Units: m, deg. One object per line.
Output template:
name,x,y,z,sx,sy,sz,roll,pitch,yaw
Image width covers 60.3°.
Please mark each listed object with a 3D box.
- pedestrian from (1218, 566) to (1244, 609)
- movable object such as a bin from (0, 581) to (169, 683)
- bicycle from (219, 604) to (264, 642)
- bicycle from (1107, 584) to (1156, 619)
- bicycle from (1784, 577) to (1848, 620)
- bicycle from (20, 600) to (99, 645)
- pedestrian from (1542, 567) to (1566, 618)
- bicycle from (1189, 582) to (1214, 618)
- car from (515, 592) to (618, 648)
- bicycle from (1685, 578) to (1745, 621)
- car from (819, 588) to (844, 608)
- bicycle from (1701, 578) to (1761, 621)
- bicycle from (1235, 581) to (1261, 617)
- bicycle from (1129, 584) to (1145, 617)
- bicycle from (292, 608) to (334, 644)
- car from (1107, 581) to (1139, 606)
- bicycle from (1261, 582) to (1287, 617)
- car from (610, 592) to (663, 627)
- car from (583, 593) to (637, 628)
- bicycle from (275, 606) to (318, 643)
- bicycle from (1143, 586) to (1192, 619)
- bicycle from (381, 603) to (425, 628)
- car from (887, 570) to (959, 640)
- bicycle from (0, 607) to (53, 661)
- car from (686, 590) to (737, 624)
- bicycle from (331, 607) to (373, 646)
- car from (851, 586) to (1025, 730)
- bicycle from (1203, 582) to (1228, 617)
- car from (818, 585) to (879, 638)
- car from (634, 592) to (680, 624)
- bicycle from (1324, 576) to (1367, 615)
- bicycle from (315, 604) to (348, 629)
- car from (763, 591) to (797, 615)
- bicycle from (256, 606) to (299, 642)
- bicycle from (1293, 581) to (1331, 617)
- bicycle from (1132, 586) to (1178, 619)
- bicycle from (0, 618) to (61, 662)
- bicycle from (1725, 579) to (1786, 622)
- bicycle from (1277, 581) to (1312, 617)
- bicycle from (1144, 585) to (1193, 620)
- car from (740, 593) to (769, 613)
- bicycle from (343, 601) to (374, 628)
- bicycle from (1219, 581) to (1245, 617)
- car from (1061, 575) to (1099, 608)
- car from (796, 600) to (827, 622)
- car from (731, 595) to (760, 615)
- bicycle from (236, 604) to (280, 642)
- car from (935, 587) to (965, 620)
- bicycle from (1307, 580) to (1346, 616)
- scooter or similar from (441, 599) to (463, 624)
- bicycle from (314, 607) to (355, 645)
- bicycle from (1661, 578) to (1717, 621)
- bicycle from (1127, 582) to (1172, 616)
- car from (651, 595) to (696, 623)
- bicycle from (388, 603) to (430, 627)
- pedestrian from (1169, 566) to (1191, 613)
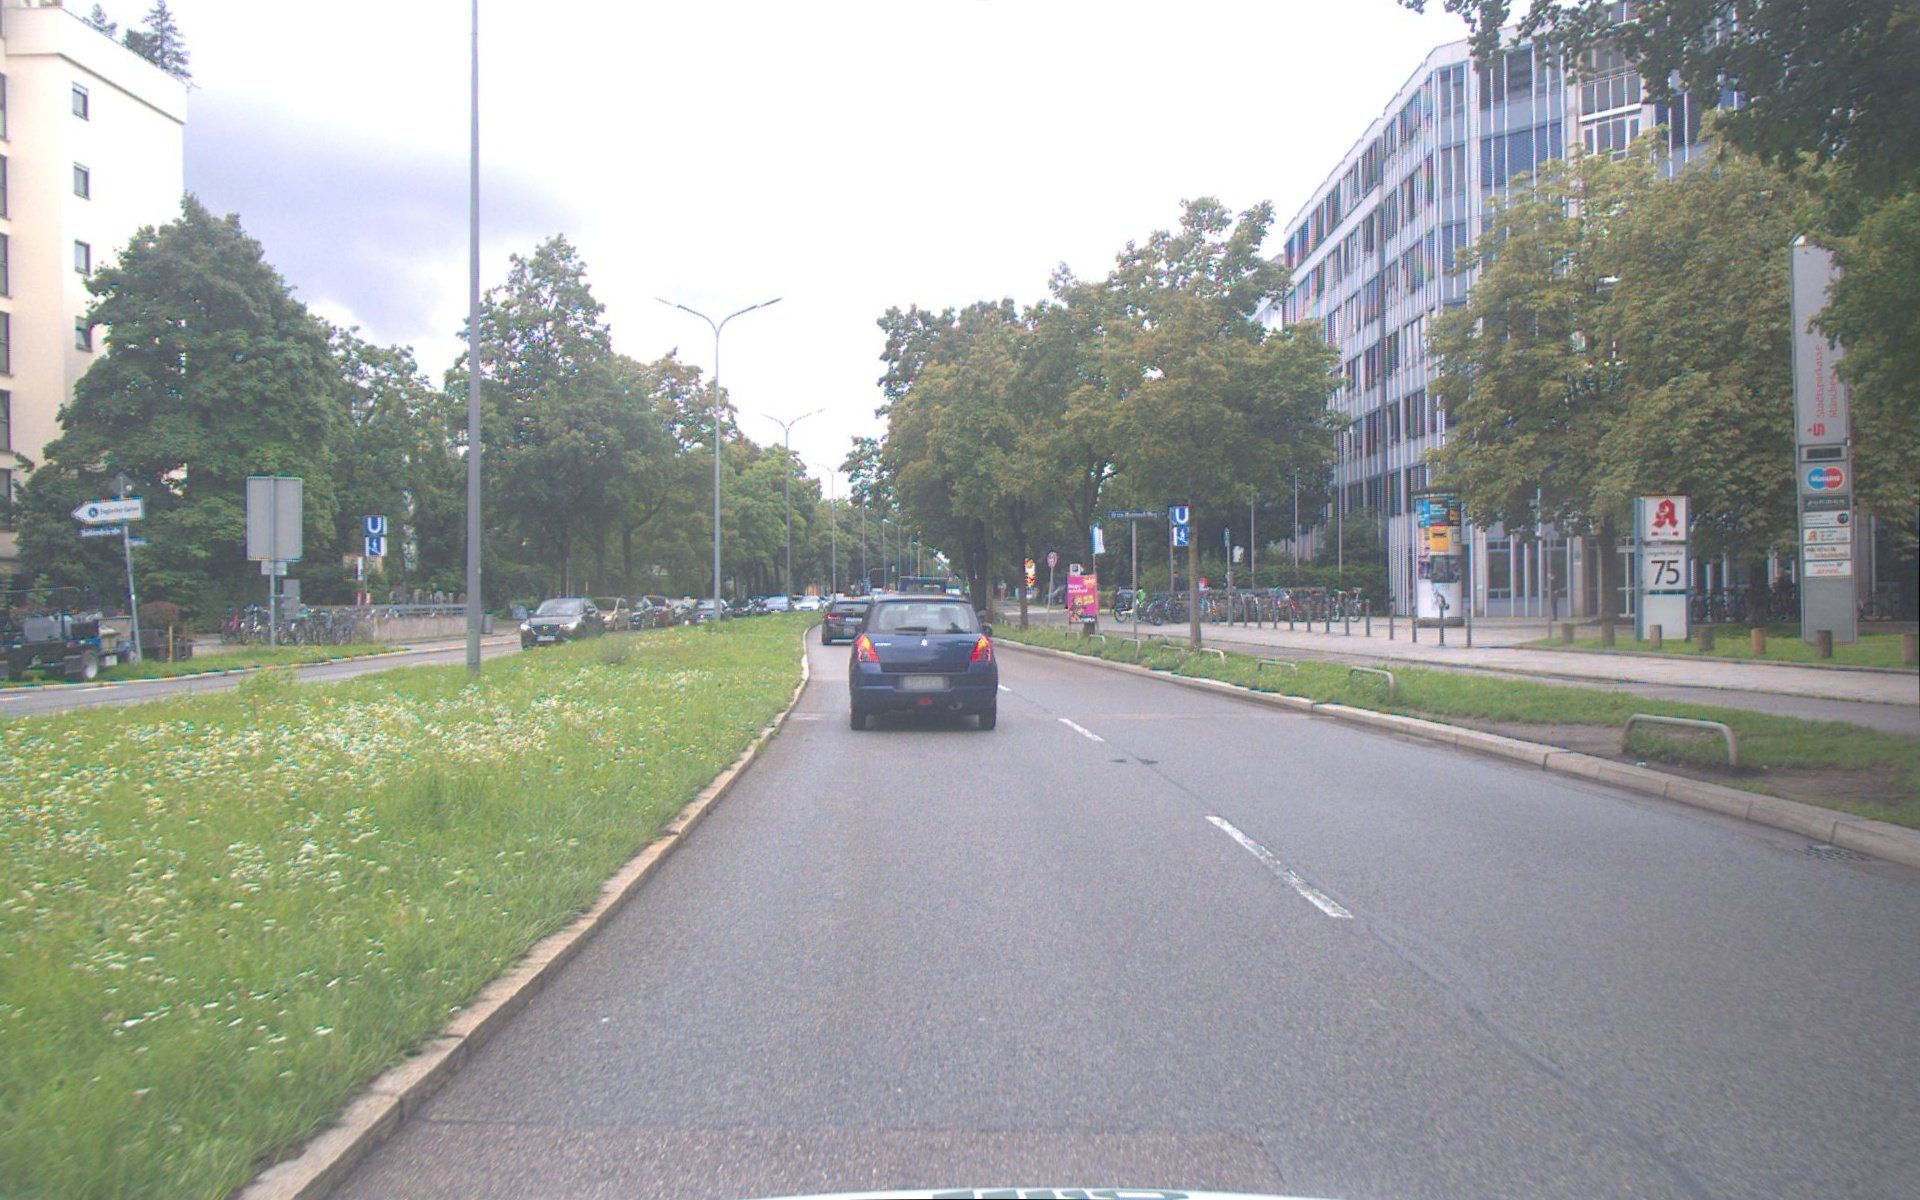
pedestrian,11.326,-0.529,69.113,0.743,1.744,0.773,-2,0,-41
movable object such as a bin,-18.618,0.636,34.930,2.150,1.987,3.996,-1,0,-5
bicycle,-22.232,0.703,51.189,0.399,1.116,1.955,3,1,3
bicycle,6.694,0.066,64.508,1.931,1.209,0.590,-5,2,-34
bicycle,26.459,-0.058,51.168,0.542,1.282,2.170,-1,0,-10
bicycle,-24.880,0.607,45.719,1.907,1.122,0.489,3,0,4
pedestrian,21.376,-0.268,59.511,0.672,1.803,0.770,-1,0,11
bicycle,8.438,-0.014,57.896,0.478,1.209,1.953,-1,0,-3
car,-11.493,0.561,48.569,1.917,1.506,4.259,-1,0,1
bicycle,23.213,-0.018,50.889,0.499,1.282,2.170,-1,0,-10
car,-11.054,-0.184,142.925,1.730,1.653,4.377,-2,0,1
bicycle,23.765,-0.029,51.036,0.499,1.282,2.170,-1,0,-10
bicycle,10.107,-0.036,58.047,0.478,1.209,1.953,-1,0,-3
bicycle,7.215,0.026,67.422,0.519,1.247,1.863,-3,2,4
bicycle,-20.041,0.800,51.267,0.399,1.058,1.955,3,1,3
car,12.321,-0.496,125.180,1.805,1.850,4.471,-2,0,-1
bicycle,10.956,-0.025,57.801,0.436,1.209,1.953,-1,0,-3
car,-16.520,0.458,84.551,1.703,1.672,4.685,0,0,1
car,-16.710,0.484,79.072,1.613,1.642,3.820,0,0,2
bicycle,-20.580,0.752,51.322,0.399,1.091,1.955,3,1,3
bicycle,7.574,0.085,60.261,2.026,1.108,0.595,-3,-1,-45
bicycle,-24.494,0.684,72.732,1.726,1.024,0.436,-1,0,0
car,-1.326,0.156,61.896,2.368,2.487,5.088,0,0,2
bicycle,-25.629,0.823,43.356,3.257,1.305,0.788,3,1,4
car,-11.312,0.295,75.557,1.746,1.430,4.101,-2,0,-1
bicycle,-18.867,0.812,51.350,0.399,1.108,2.085,3,1,3
car,-0.306,0.606,19.482,1.858,1.525,3.658,0,0,-2
bicycle,8.946,-0.029,57.940,0.478,1.209,1.953,-1,0,-3
car,-3.508,0.335,51.653,1.764,1.525,3.655,-2,0,-6
car,-16.526,0.424,90.476,1.703,1.680,4.605,1,0,-1
bicycle,13.530,-0.165,58.105,0.499,1.317,2.472,-1,0,-10
bicycle,-27.322,0.724,71.917,0.566,1.024,2.032,-1,0,1
car,-11.126,0.162,102.325,1.657,1.426,3.967,-2,0,-1
bicycle,-21.153,0.739,51.313,0.399,1.048,1.955,3,1,3
bicycle,12.197,-0.050,57.409,0.502,1.210,2.136,-1,0,-10
bicycle,7.210,0.077,61.061,0.571,1.084,1.940,-3,1,45
bicycle,-25.049,1.069,44.062,1.907,1.122,0.560,-2,0,4
bicycle,24.565,0.005,51.117,0.499,1.282,2.170,-1,0,-10
bicycle,11.638,-0.030,57.571,0.437,1.210,2.136,-1,0,-10
bicycle,7.419,0.085,58.744,0.571,1.118,2.018,-4,0,44
car,-15.990,0.234,128.931,1.592,1.448,4.193,2,0,1
bicycle,-26.209,0.632,72.069,0.566,1.118,2.032,-1,0,1
bicycle,9.516,-0.045,57.962,0.478,1.209,1.953,-1,0,-3
car,9.011,-0.670,124.615,2.219,2.347,6.267,-2,0,-1
car,-10.867,0.771,121.182,1.876,1.510,4.864,-2,0,0
car,-16.043,0.352,123.657,1.548,1.448,4.362,2,0,0
bicycle,-21.723,0.703,51.192,0.399,1.123,1.955,3,1,3
car,-0.683,0.229,117.381,1.946,2.195,5.556,-2,0,1
bicycle,12.810,-0.067,57.843,0.566,1.210,2.136,-1,0,-10
scooter or similar,-24.637,0.555,80.210,0.426,1.146,1.291,-1,0,13
bicycle,-19.384,0.795,51.308,0.399,1.096,1.955,3,1,3
bicycle,22.540,-0.017,51.185,0.595,1.282,2.052,-1,0,-8
bicycle,7.302,-0.041,63.675,0.571,1.127,1.941,-1,4,45
car,-16.486,0.487,95.308,1.703,1.508,4.334,1,0,1
bicycle,-24.735,0.682,74.229,1.726,1.024,0.436,-1,0,0
pedestrian,9.224,-0.440,69.399,0.641,1.932,0.745,-1,0,-17
